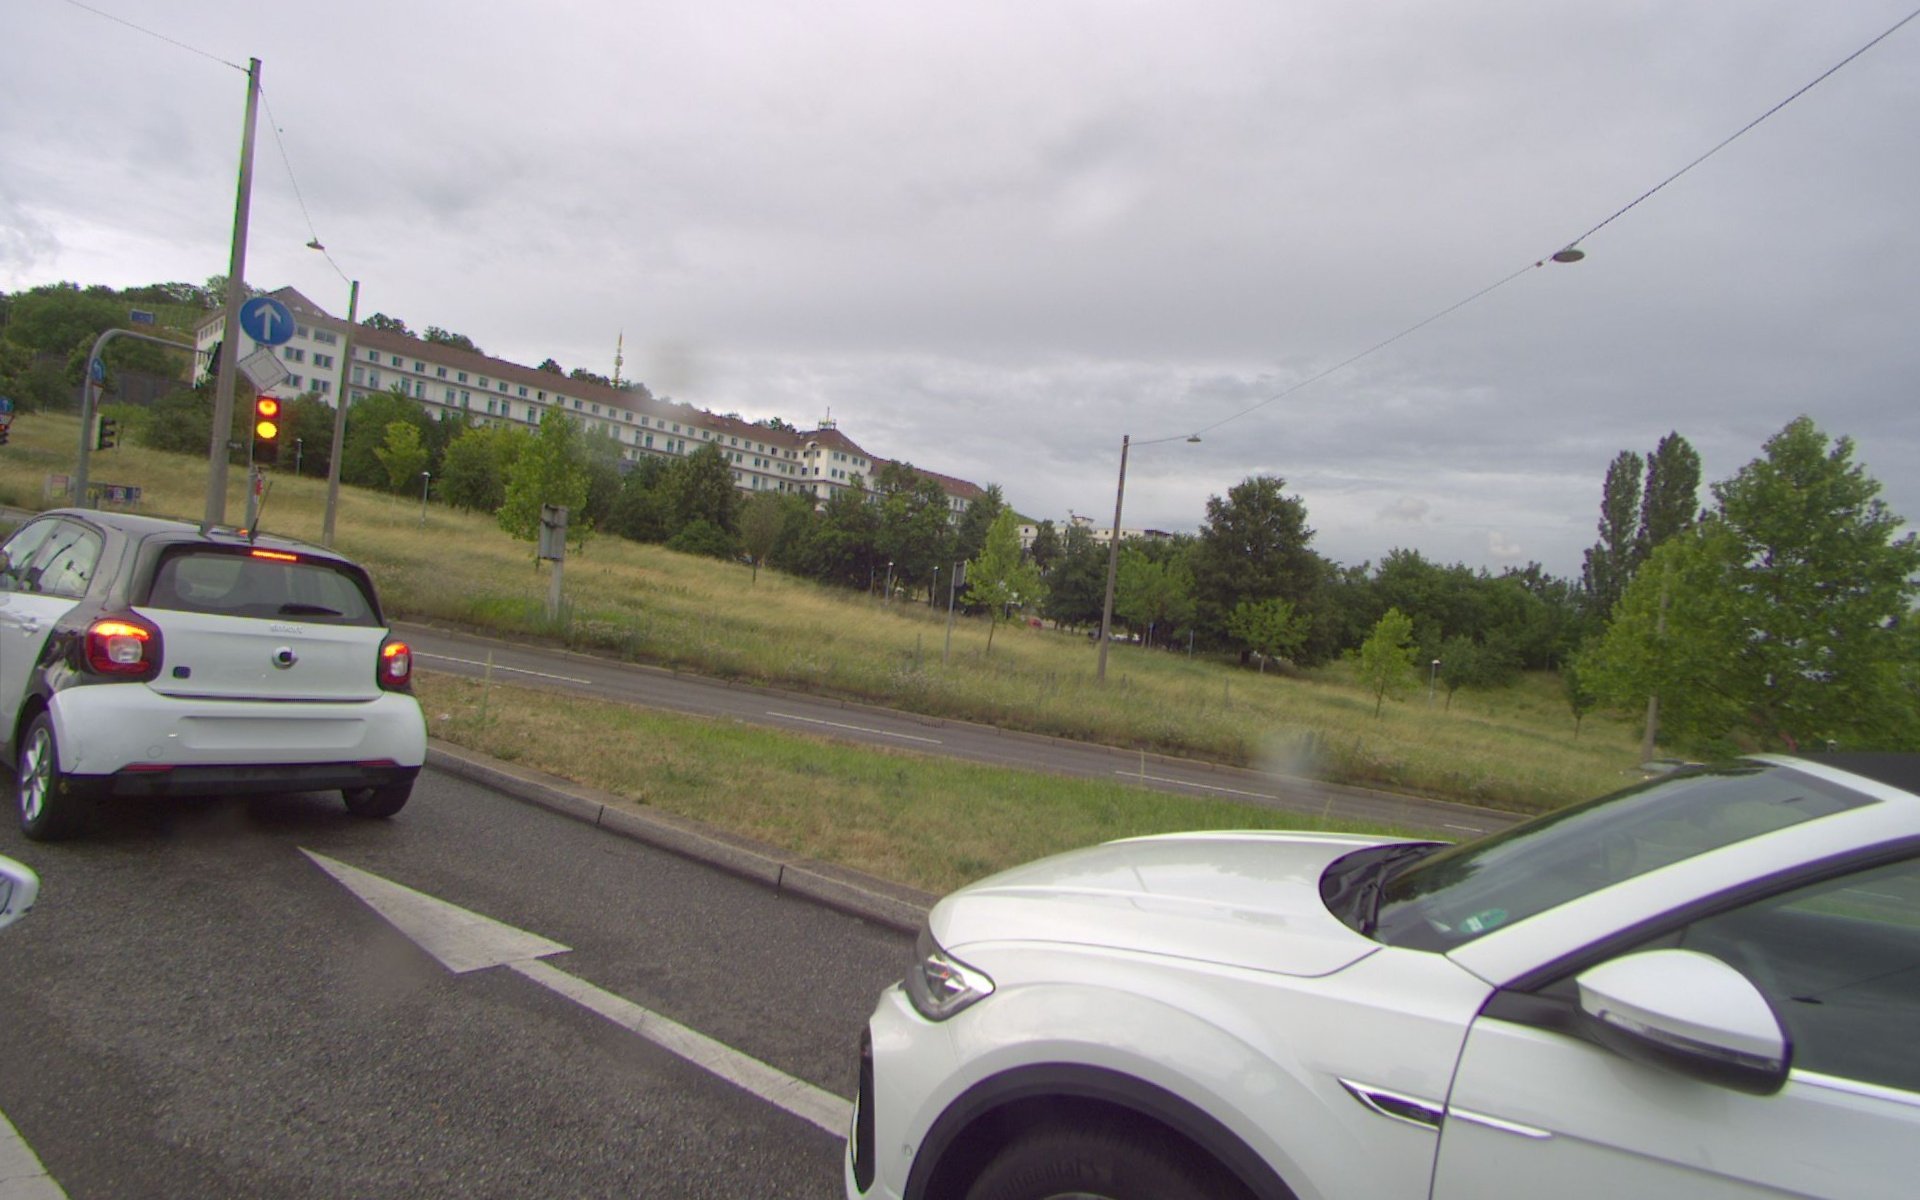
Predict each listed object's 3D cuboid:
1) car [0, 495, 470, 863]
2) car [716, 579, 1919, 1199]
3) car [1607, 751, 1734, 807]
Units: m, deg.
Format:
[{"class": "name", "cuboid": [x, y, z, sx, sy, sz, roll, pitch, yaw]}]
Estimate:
[{"class": "car", "cuboid": [-4.640, 0.296, 5.873, 3.397, 1.520, 1.659, 6, -2, 36]}, {"class": "car", "cuboid": [1.772, 1.005, 1.794, 4.157, 1.571, 1.718, 6, -2, 29]}, {"class": "car", "cuboid": [28.278, 7.125, 40.101, 3.899, 1.554, 1.996, 8, -2, -14]}]
